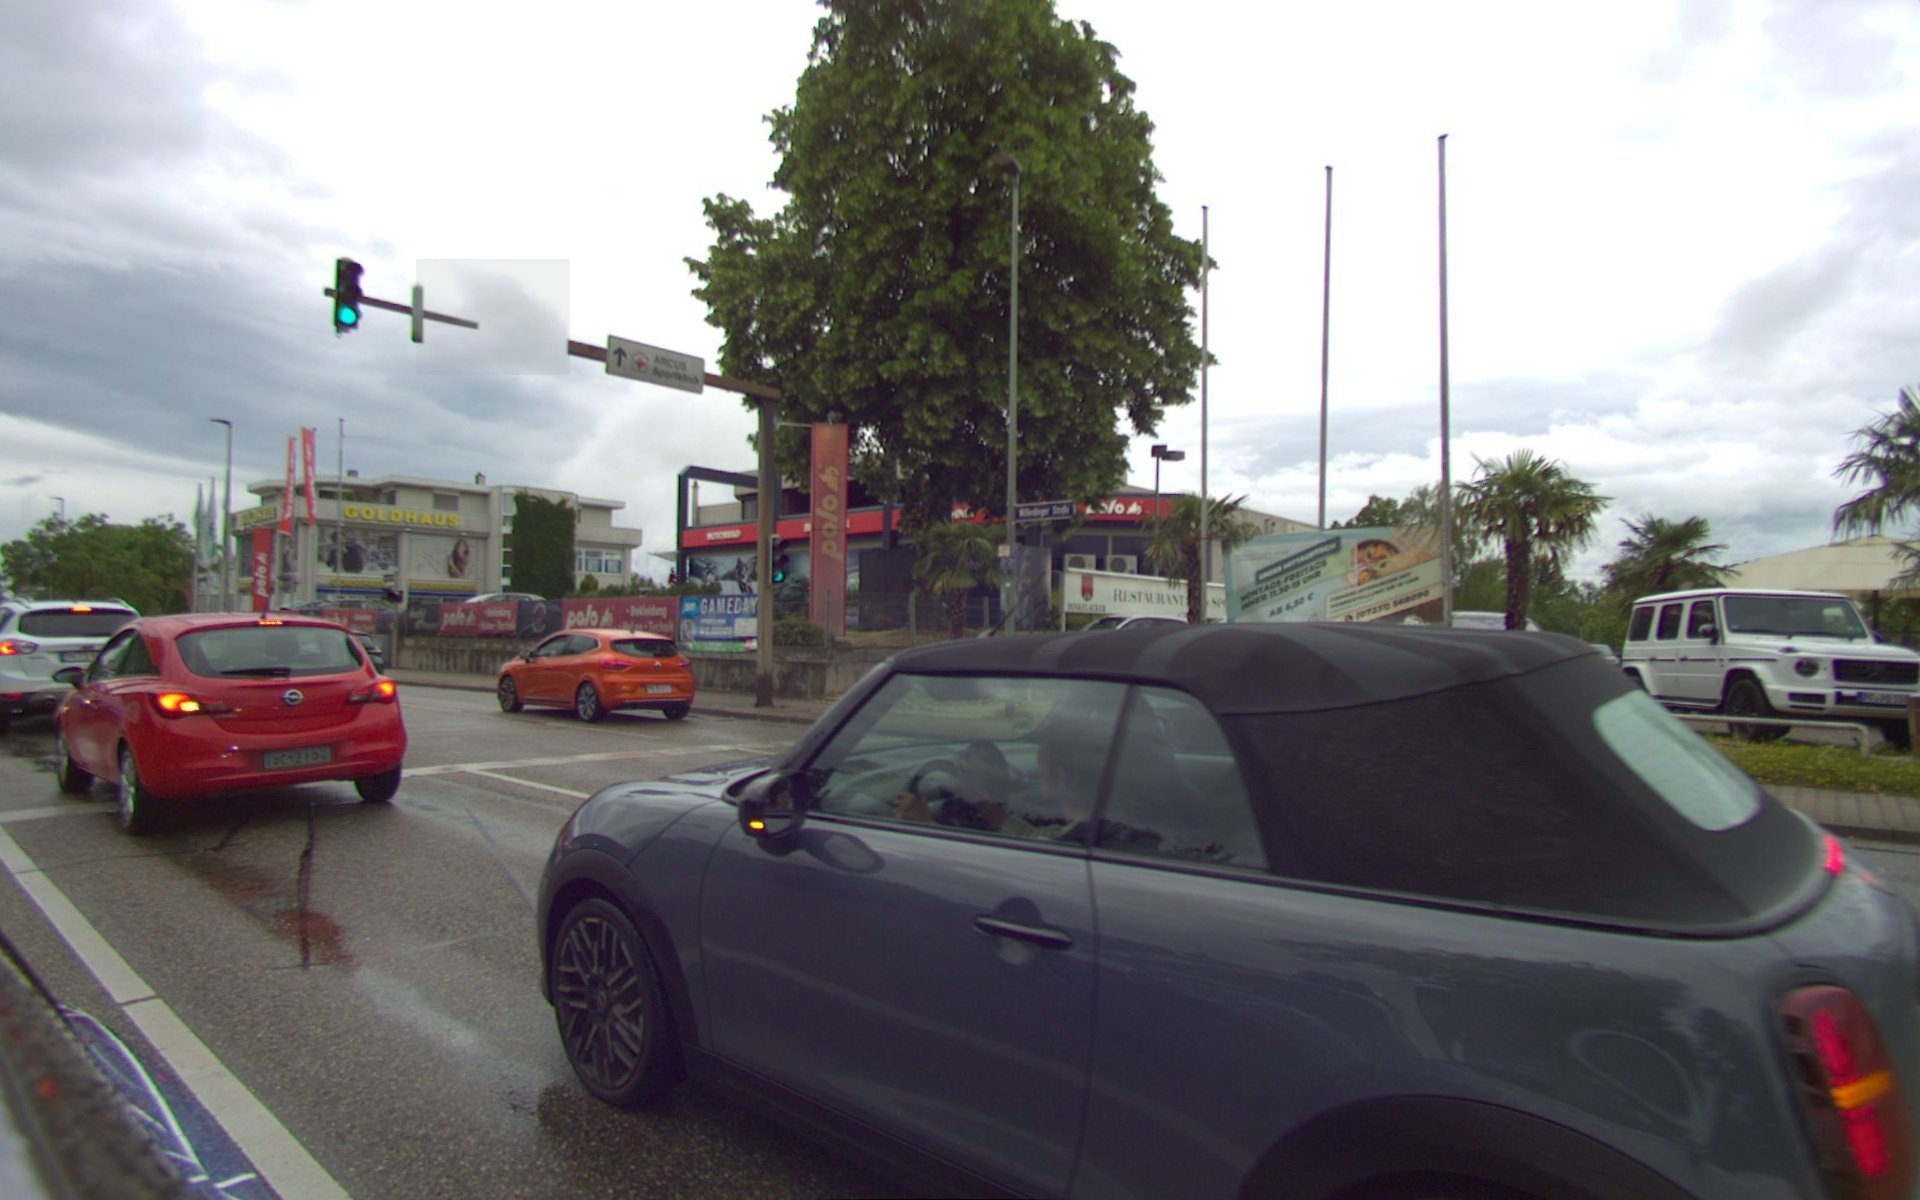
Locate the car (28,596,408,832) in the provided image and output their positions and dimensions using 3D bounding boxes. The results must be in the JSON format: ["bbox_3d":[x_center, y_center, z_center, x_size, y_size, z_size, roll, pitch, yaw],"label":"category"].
[{"bbox_3d":[-6.141,0.707,8.184,4.142,1.445,1.615,0,0,41],"label":"car"}]

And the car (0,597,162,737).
[{"bbox_3d":[-12.603,0.866,13.923,4.296,1.662,1.820,-2,-3,42],"label":"car"}]

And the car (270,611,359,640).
[{"bbox_3d":[-31.496,1.291,49.432,1.454,1.347,3.349,-3,-4,42],"label":"car"}]

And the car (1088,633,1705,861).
[{"bbox_3d":[3.345,1.015,8.338,4.401,1.410,1.585,-2,-5,40],"label":"car"}]

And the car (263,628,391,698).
[{"bbox_3d":[-16.230,1.590,25.877,3.998,1.630,1.658,-3,-4,41],"label":"car"}]

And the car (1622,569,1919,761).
[{"bbox_3d":[10.497,0.820,12.901,1.980,2.029,4.381,0,-4,13],"label":"car"}]

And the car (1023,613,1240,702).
[{"bbox_3d":[3.137,1.052,18.654,3.556,1.515,1.671,2,-2,-20],"label":"car"}]

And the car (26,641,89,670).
[{"bbox_3d":[-46.381,2.837,51.980,4.123,1.390,1.897,-2,-4,41],"label":"car"}]

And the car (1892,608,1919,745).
[{"bbox_3d":[12.535,0.876,10.506,1.981,1.715,4.991,3,-3,13],"label":"car"}]

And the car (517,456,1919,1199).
[{"bbox_3d":[0.575,0.607,2.566,3.946,1.452,1.585,-2,-2,41],"label":"car"}]

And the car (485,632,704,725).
[{"bbox_3d":[-6.012,1.221,16.447,3.944,1.342,1.606,-2,-4,41],"label":"car"}]

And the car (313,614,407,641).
[{"bbox_3d":[-27.263,1.265,46.056,1.452,1.176,3.352,-2,-3,39],"label":"car"}]
